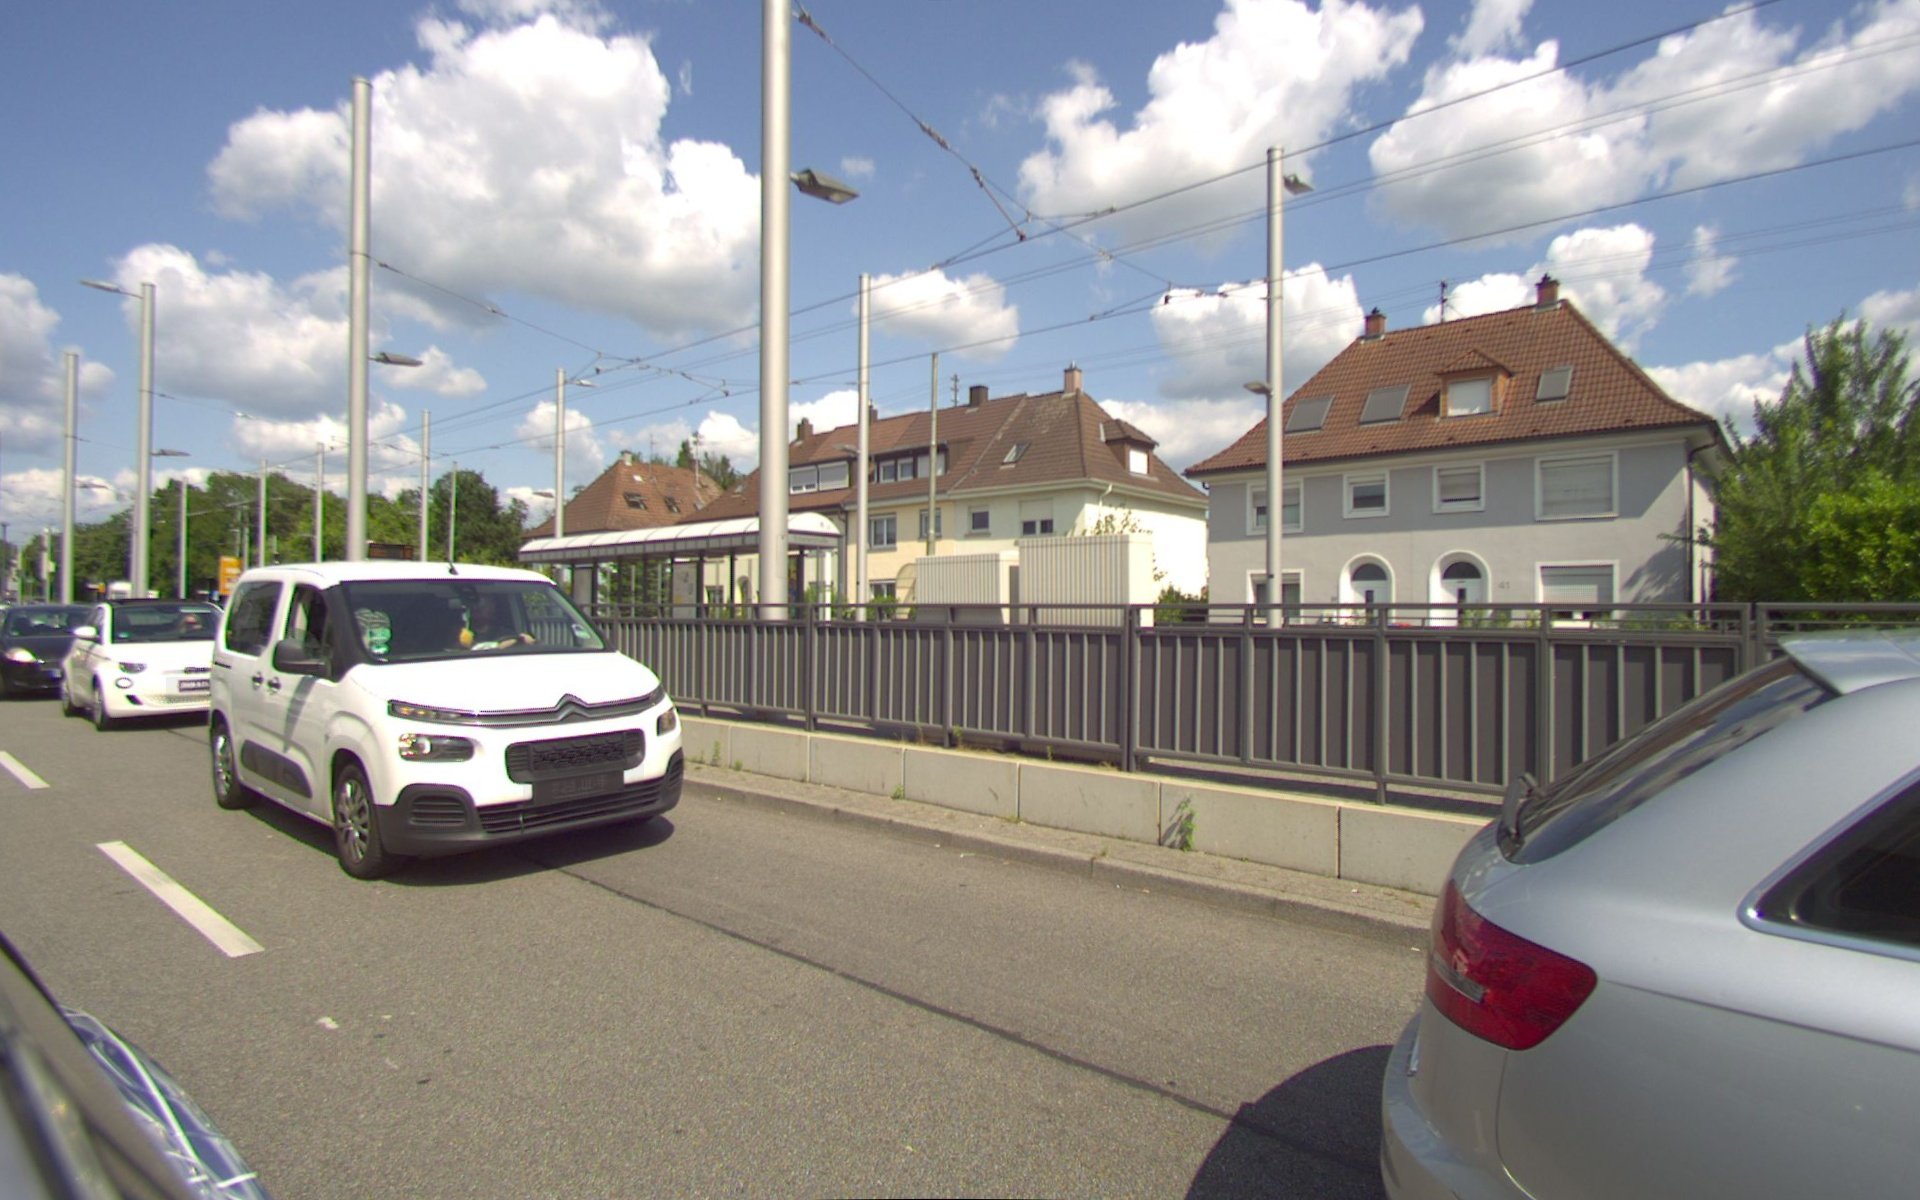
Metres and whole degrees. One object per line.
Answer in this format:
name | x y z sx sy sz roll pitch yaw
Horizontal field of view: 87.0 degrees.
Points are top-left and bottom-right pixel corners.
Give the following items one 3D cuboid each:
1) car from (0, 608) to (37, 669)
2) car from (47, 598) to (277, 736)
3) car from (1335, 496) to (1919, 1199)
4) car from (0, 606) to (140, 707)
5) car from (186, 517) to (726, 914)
car | -24.186 0.911 24.929 4.497 1.368 1.676 0 1 42
car | -10.243 0.749 12.931 3.391 1.515 1.659 -1 0 40
car | 2.894 0.626 0.584 4.720 1.483 1.776 0 1 41
car | -14.933 0.838 16.597 3.556 1.432 1.659 0 1 40
car | -3.588 0.520 6.785 4.328 1.829 1.775 0 1 42
